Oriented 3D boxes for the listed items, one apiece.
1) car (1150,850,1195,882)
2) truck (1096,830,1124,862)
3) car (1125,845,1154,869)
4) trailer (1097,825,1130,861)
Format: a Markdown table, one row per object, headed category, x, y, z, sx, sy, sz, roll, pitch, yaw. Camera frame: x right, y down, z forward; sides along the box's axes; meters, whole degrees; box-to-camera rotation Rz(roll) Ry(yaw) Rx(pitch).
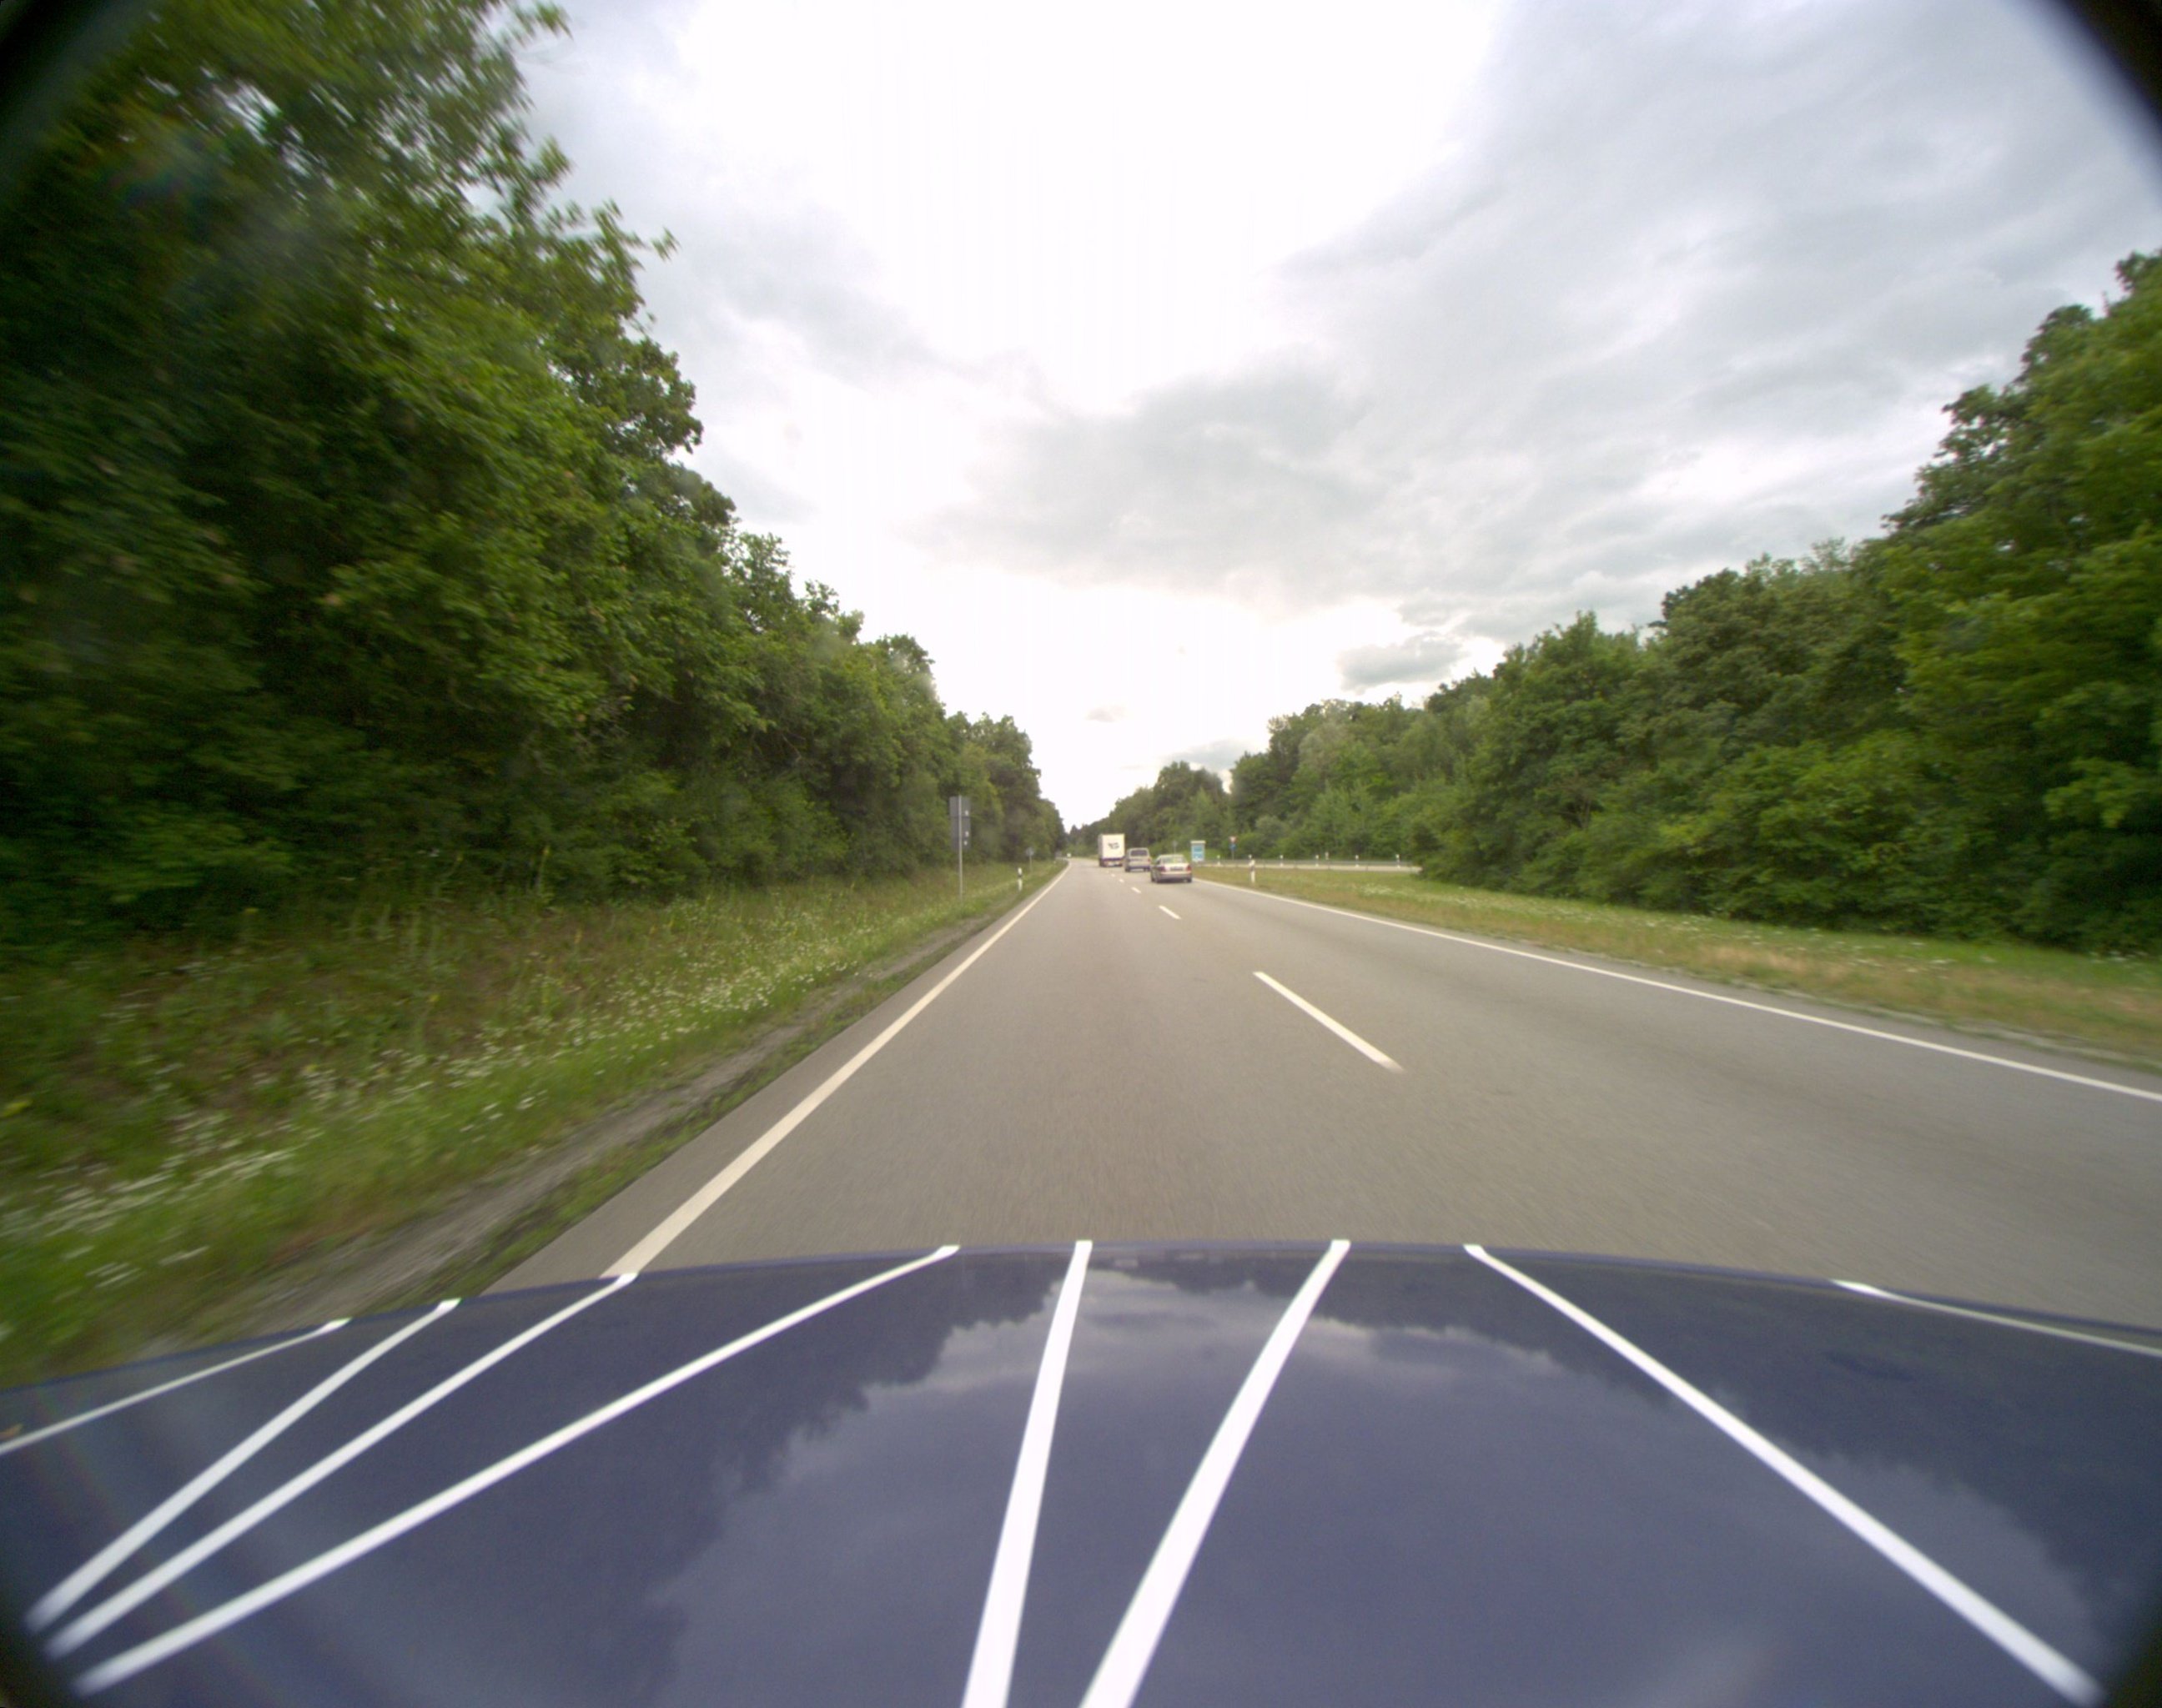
| category | x | y | z | sx | sy | sz | roll | pitch | yaw |
| --- | --- | --- | --- | --- | --- | --- | --- | --- | --- |
| car | 4.586 | 0.569 | 38.765 | 1.730 | 1.426 | 4.503 | -2 | 1 | 0 |
| truck | 3.824 | -1.135 | 103.540 | 3.198 | 4.039 | 9.574 | -2 | 1 | -1 |
| car | 4.929 | 0.214 | 64.891 | 1.998 | 1.929 | 5.810 | -2 | 1 | 0 |
| trailer | 3.945 | -1.310 | 95.850 | 3.212 | 4.043 | 14.269 | -2 | 1 | -1 |
